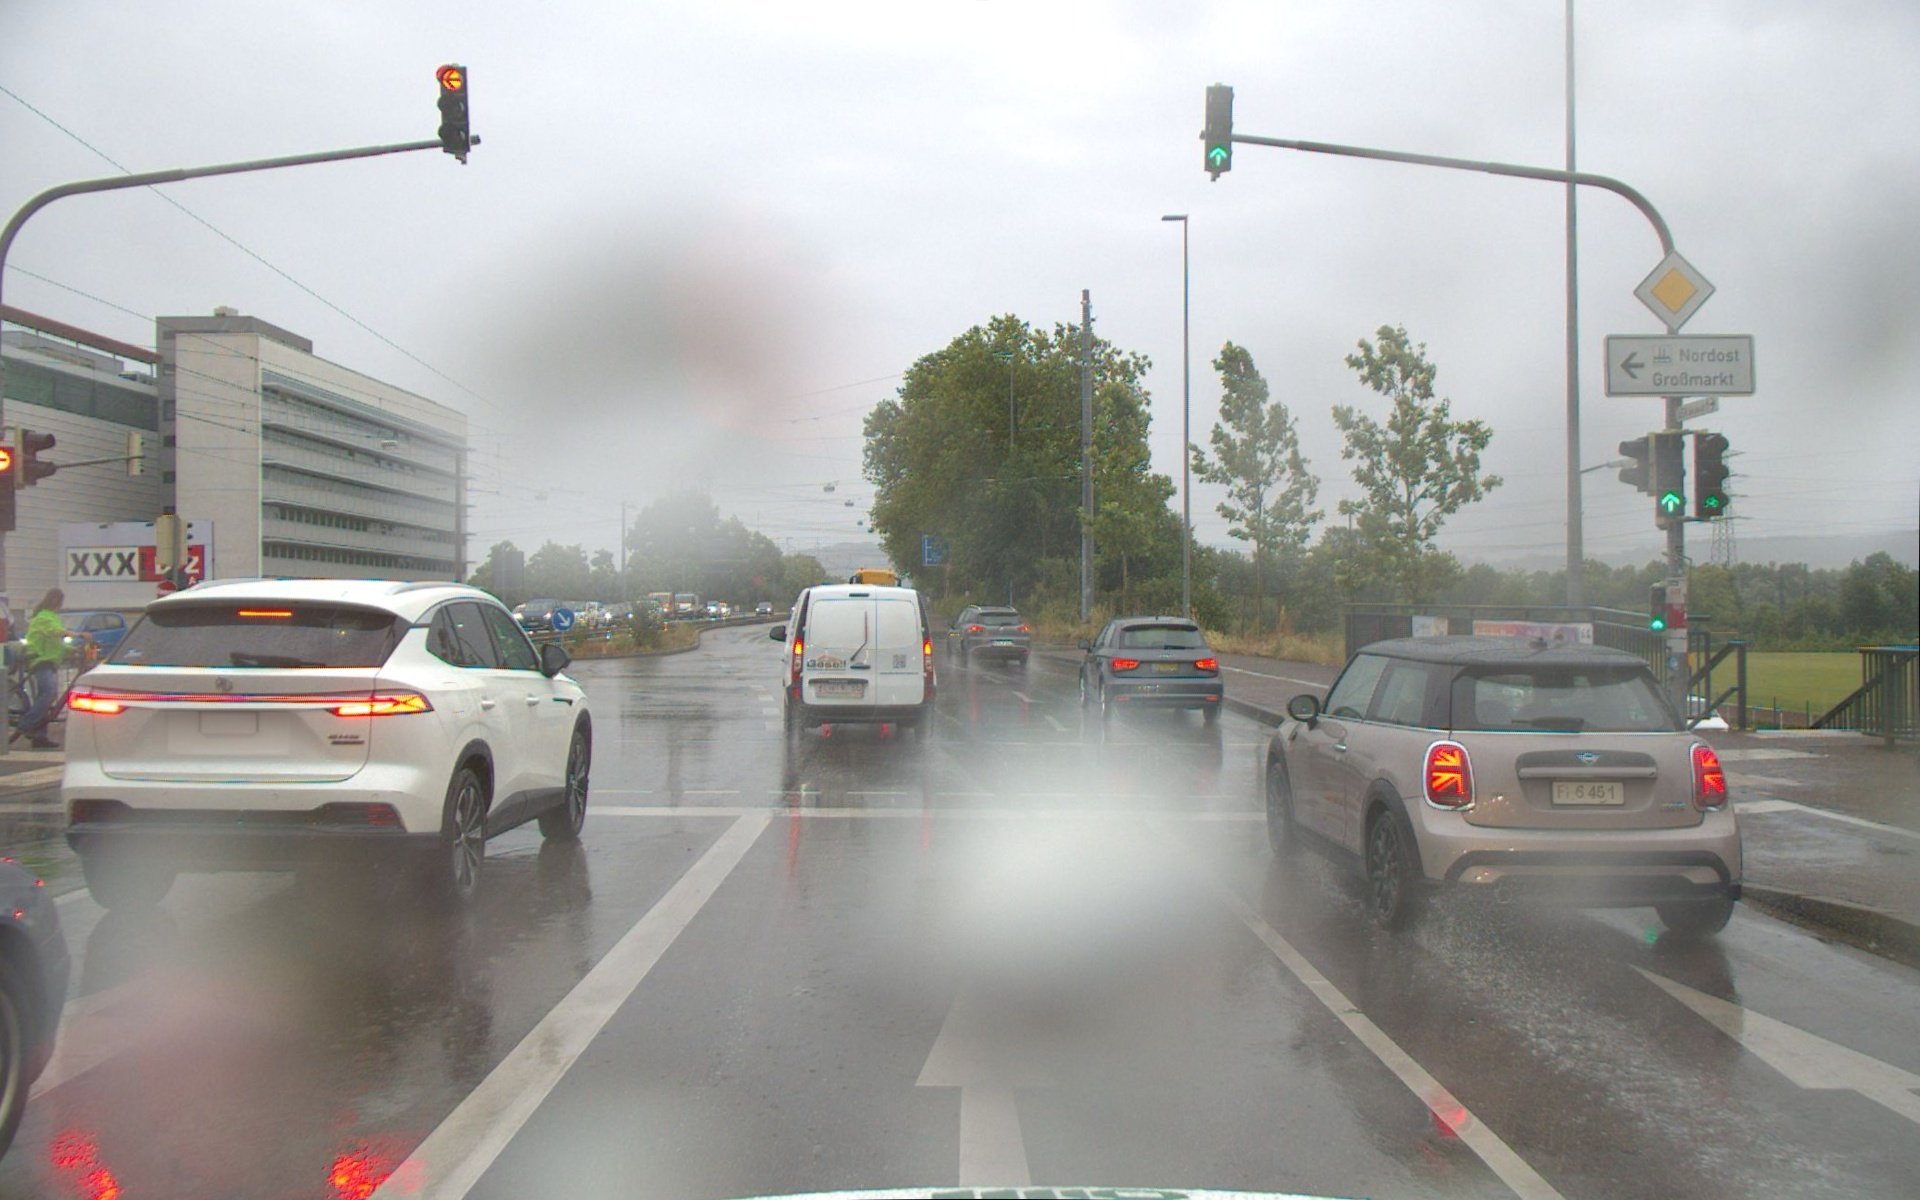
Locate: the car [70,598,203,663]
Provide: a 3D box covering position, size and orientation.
[{"bbox_3d":[-23.748,0.909,47.832,1.693,1.690,3.539,1,-3,7],"label":"car"}]

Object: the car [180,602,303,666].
[{"bbox_3d":[-21.384,1.048,49.394,1.807,1.829,4.000,0,-3,1],"label":"car"}]

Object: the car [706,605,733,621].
[{"bbox_3d":[-24.285,1.331,167.088,1.952,1.614,4.000,1,-1,2],"label":"car"}]

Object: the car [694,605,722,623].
[{"bbox_3d":[-24.280,1.351,159.387,1.952,1.738,4.000,1,-1,2],"label":"car"}]

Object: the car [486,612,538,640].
[{"bbox_3d":[-25.043,1.442,92.646,1.733,1.513,3.840,1,-1,2],"label":"car"}]

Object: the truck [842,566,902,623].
[{"bbox_3d":[-4.735,-0.232,88.031,2.583,2.866,7.132,1,-1,-8],"label":"truck"}]

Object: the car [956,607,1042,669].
[{"bbox_3d":[0.937,0.935,41.859,1.823,1.453,3.804,1,0,-4],"label":"car"}]

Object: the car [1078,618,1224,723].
[{"bbox_3d":[2.660,0.964,23.675,1.596,1.368,3.623,1,-1,-1],"label":"car"}]

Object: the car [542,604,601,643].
[{"bbox_3d":[-20.908,1.280,89.165,1.952,2.049,4.001,1,-1,3],"label":"car"}]

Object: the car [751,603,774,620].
[{"bbox_3d":[-21.658,1.316,181.528,1.952,1.788,4.000,1,-1,2],"label":"car"}]

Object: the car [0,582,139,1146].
[{"bbox_3d":[-3.219,0.613,2.509,1.727,1.423,4.642,1,-1,-2],"label":"car"}]

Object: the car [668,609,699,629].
[{"bbox_3d":[-24.158,1.644,144.666,1.952,1.692,4.000,1,-1,2],"label":"car"}]

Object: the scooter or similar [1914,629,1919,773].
[{"bbox_3d":[7.965,0.817,13.035,0.240,1.178,1.186,1,-1,1],"label":"scooter or similar"}]

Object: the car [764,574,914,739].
[{"bbox_3d":[-1.393,0.655,20.310,1.534,1.819,3.999,0,-1,0],"label":"car"}]

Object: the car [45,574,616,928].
[{"bbox_3d":[-3.269,0.685,9.575,1.694,1.562,4.297,1,0,-1],"label":"car"}]

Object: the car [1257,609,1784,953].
[{"bbox_3d":[2.873,0.840,9.312,1.678,1.534,3.623,1,-1,-1],"label":"car"}]

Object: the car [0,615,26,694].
[{"bbox_3d":[-21.900,1.156,34.897,1.852,1.729,4.002,1,-1,4],"label":"car"}]

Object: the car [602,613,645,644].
[{"bbox_3d":[-20.710,1.776,101.871,1.786,1.839,3.769,1,-1,2],"label":"car"}]
